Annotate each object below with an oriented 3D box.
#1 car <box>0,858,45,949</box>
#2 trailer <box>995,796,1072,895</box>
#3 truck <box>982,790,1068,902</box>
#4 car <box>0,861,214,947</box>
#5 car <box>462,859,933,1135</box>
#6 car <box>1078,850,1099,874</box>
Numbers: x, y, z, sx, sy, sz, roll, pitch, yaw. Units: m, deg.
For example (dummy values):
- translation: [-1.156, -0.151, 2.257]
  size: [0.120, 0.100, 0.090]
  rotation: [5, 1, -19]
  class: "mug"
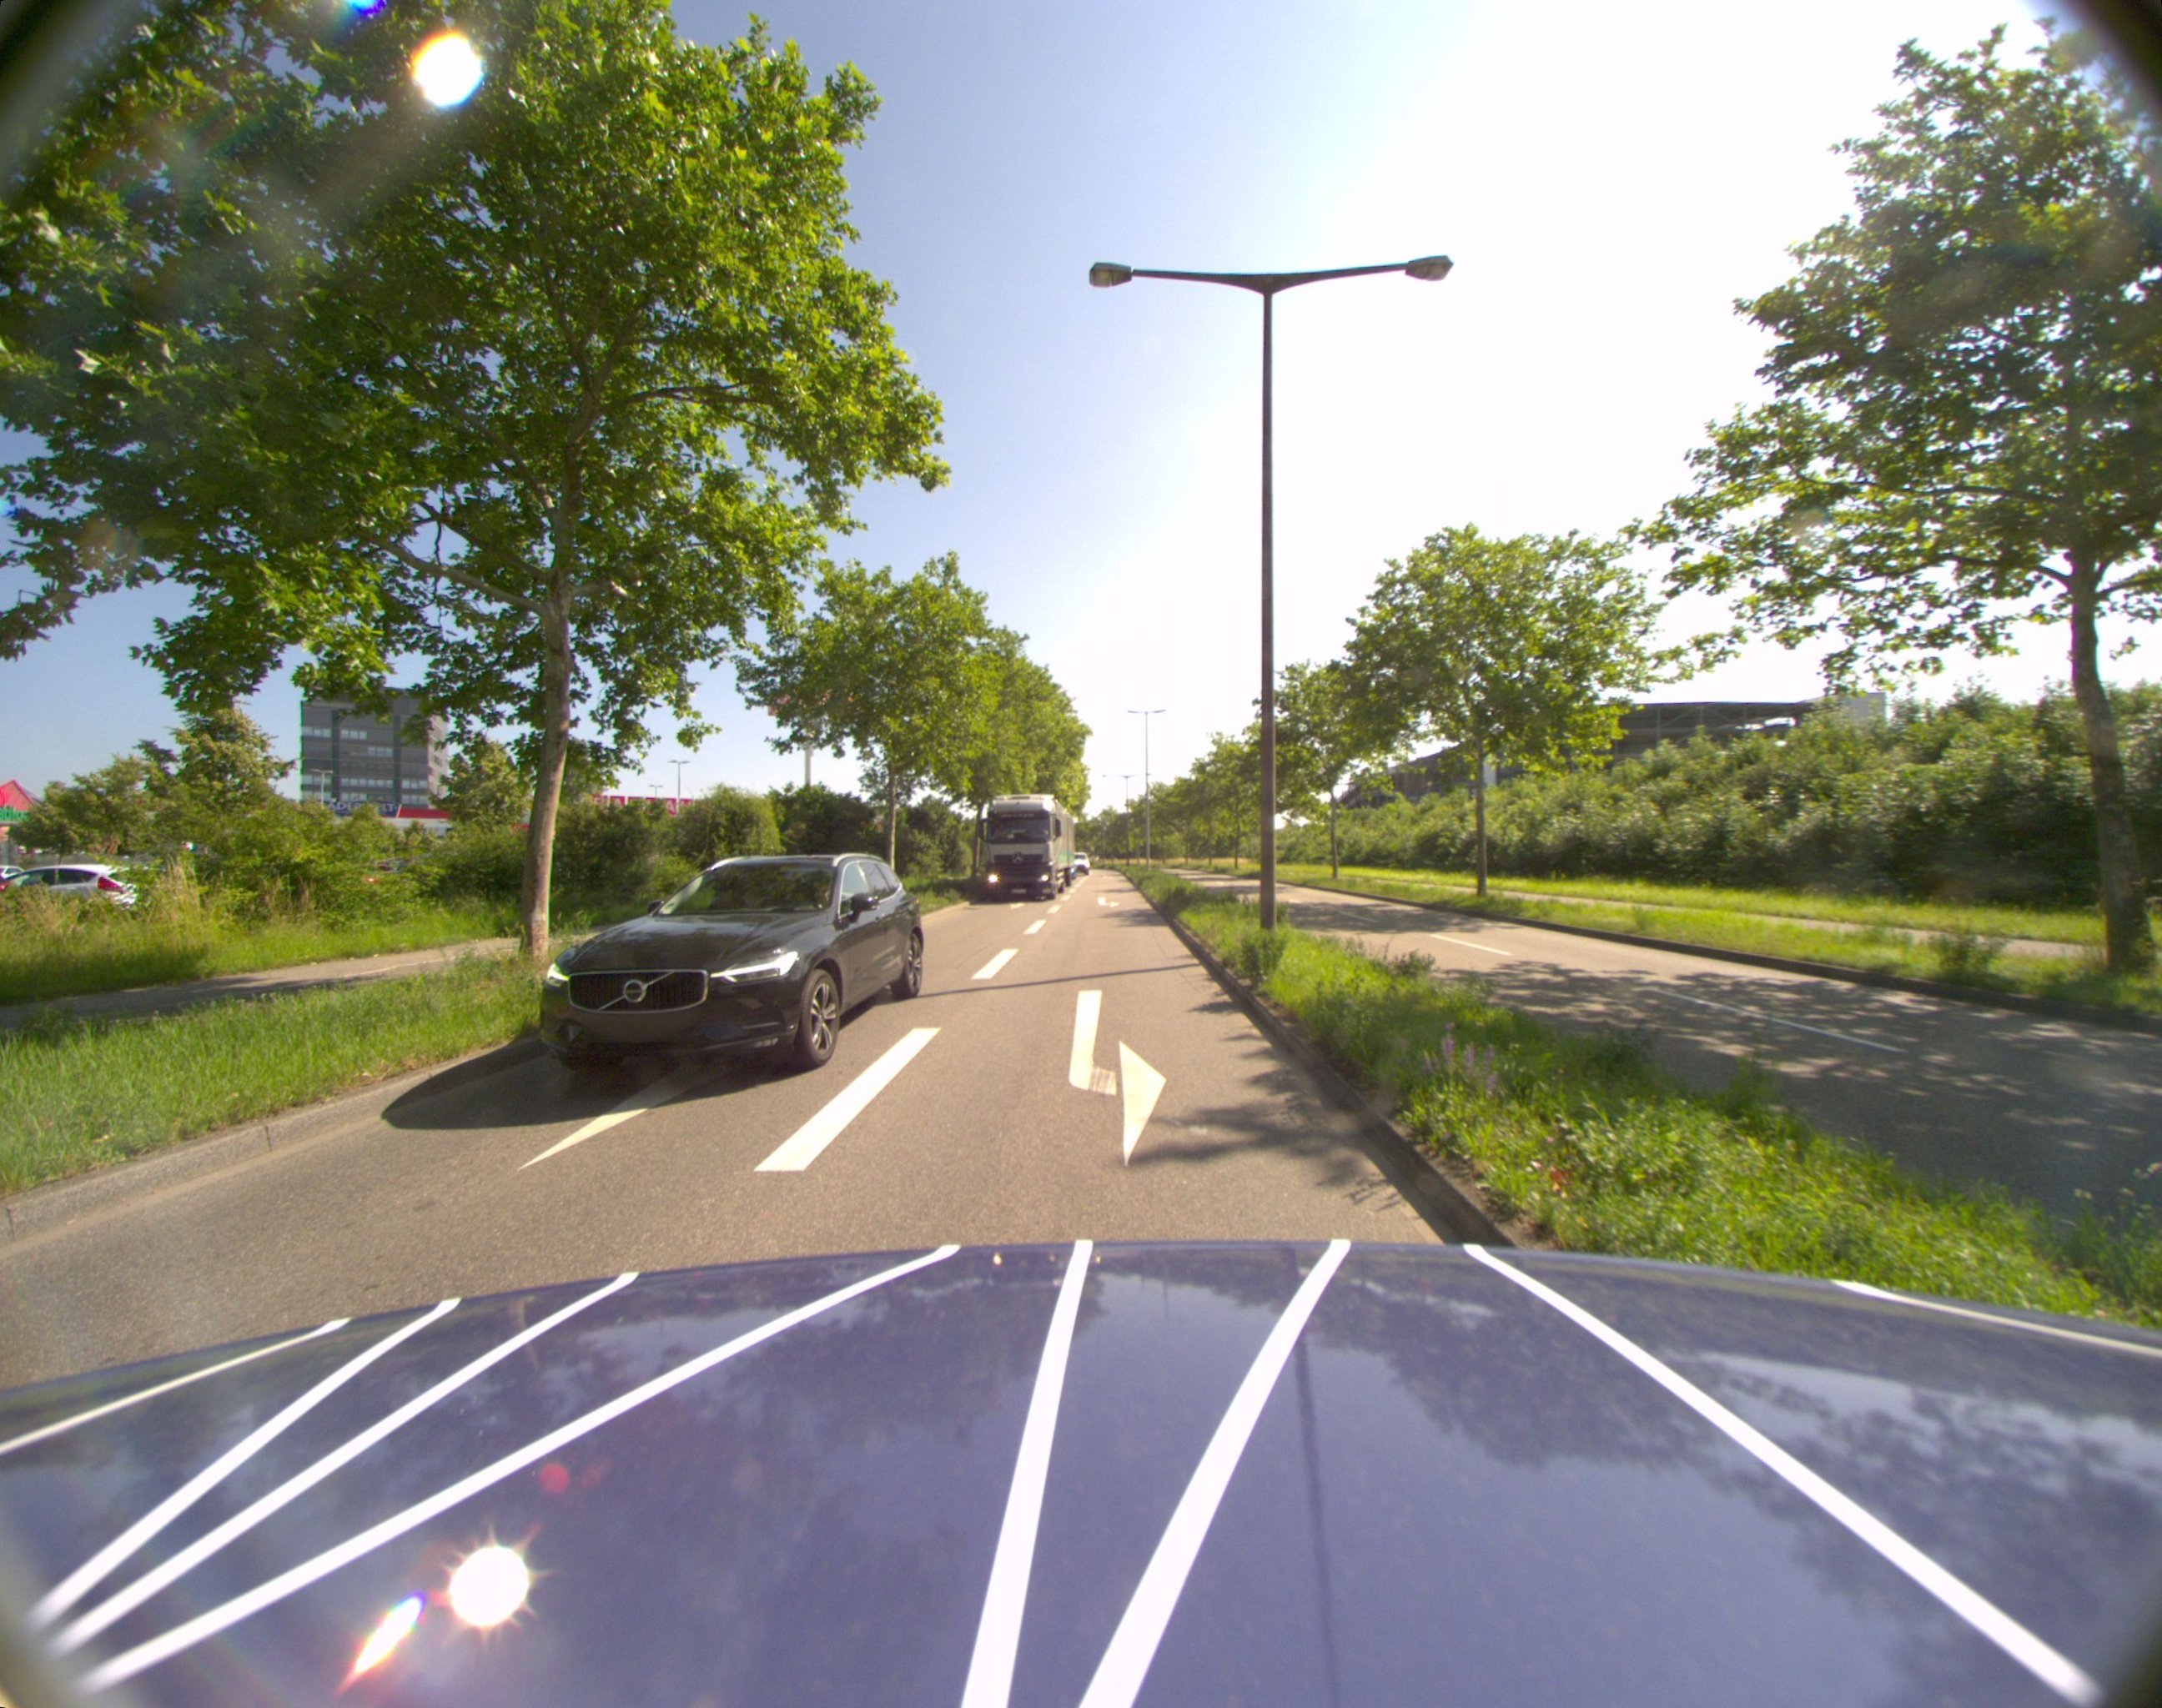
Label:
- translation: [-21.863, 0.964, 13.757]
  size: [3.558, 1.686, 1.718]
  rotation: [-1, 1, -4]
  class: "car"
- translation: [-2.016, -0.393, 36.563]
  size: [2.805, 4.023, 10.796]
  rotation: [-1, 1, 1]
  class: "trailer"
- translation: [-2.021, -0.298, 29.575]
  size: [2.741, 3.872, 5.851]
  rotation: [-1, 1, 1]
  class: "truck"
- translation: [-21.853, 1.055, 16.624]
  size: [3.558, 1.686, 1.718]
  rotation: [-1, 1, -4]
  class: "car"
- translation: [-2.828, 0.910, 7.007]
  size: [1.924, 1.613, 4.564]
  rotation: [-1, 1, 1]
  class: "car"
- translation: [0.625, 0.667, 64.408]
  size: [1.691, 1.893, 4.000]
  rotation: [-1, 1, 1]
  class: "car"
